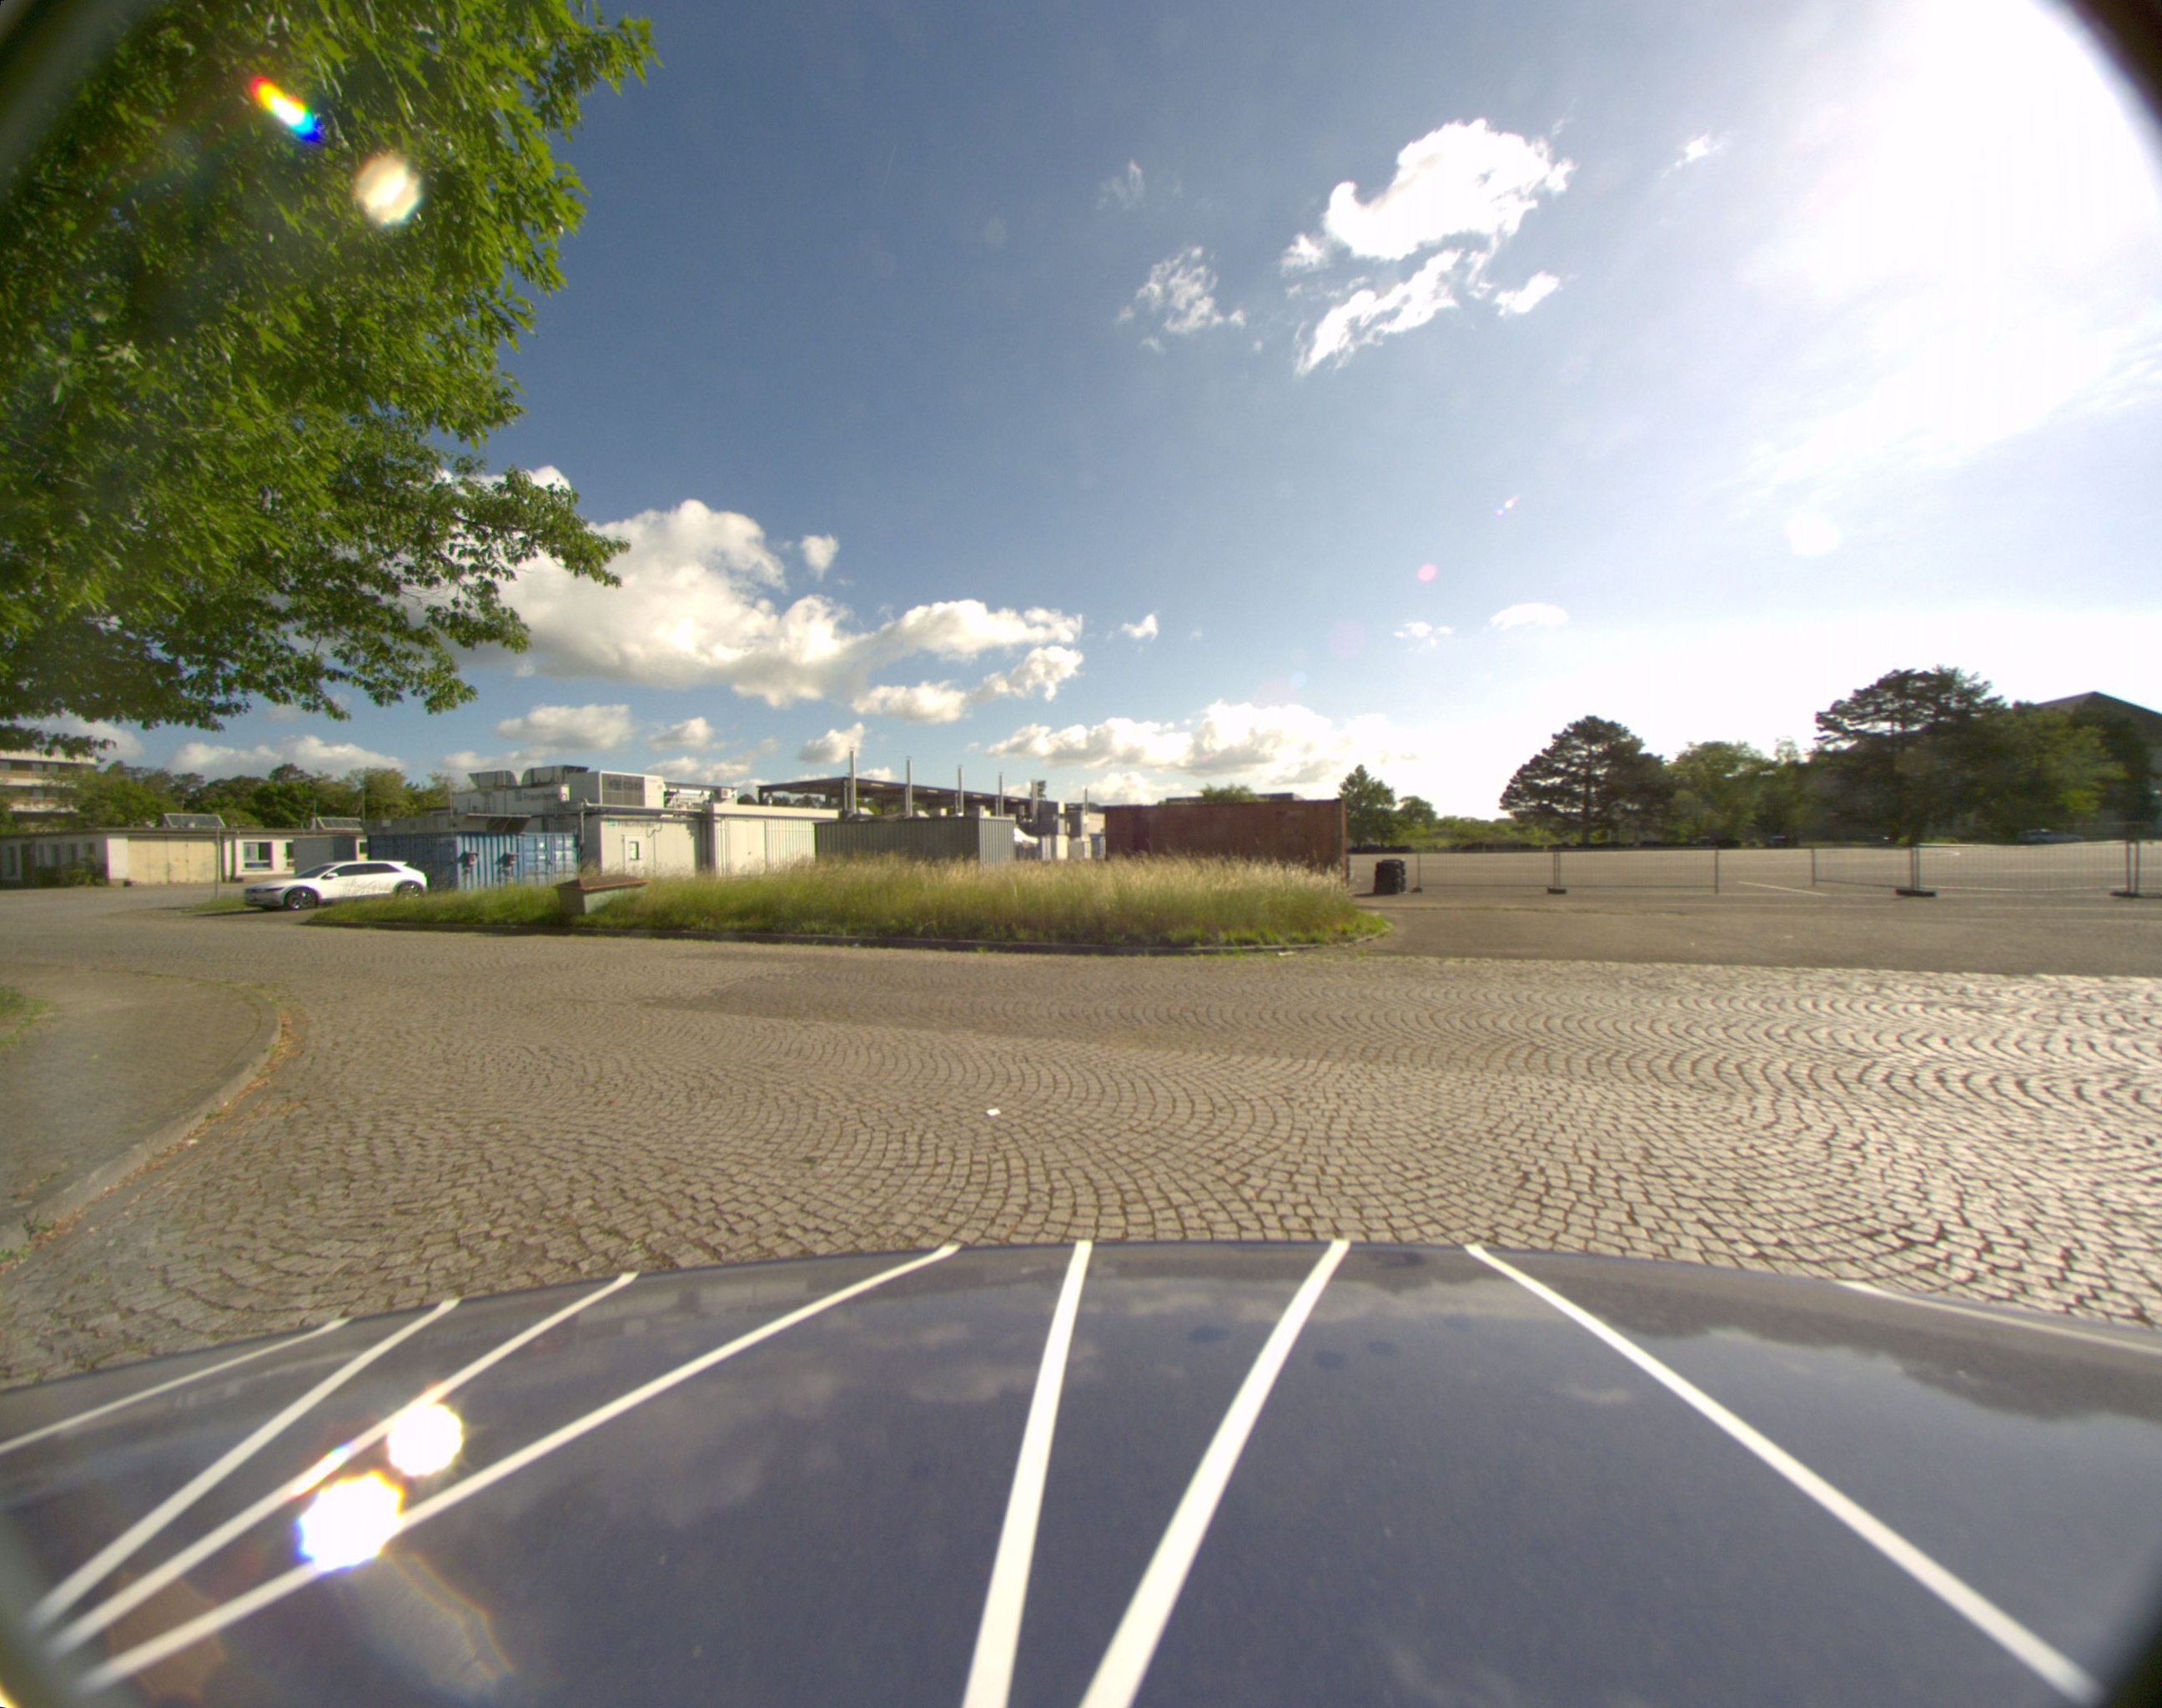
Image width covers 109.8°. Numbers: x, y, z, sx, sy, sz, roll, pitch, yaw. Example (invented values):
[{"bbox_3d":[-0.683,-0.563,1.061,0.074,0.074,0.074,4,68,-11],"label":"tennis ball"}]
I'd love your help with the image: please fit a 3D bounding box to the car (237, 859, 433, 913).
[{"bbox_3d":[-26.210,1.073,26.917,1.820,1.584,4.526,-2,1,21],"label":"car"}]
